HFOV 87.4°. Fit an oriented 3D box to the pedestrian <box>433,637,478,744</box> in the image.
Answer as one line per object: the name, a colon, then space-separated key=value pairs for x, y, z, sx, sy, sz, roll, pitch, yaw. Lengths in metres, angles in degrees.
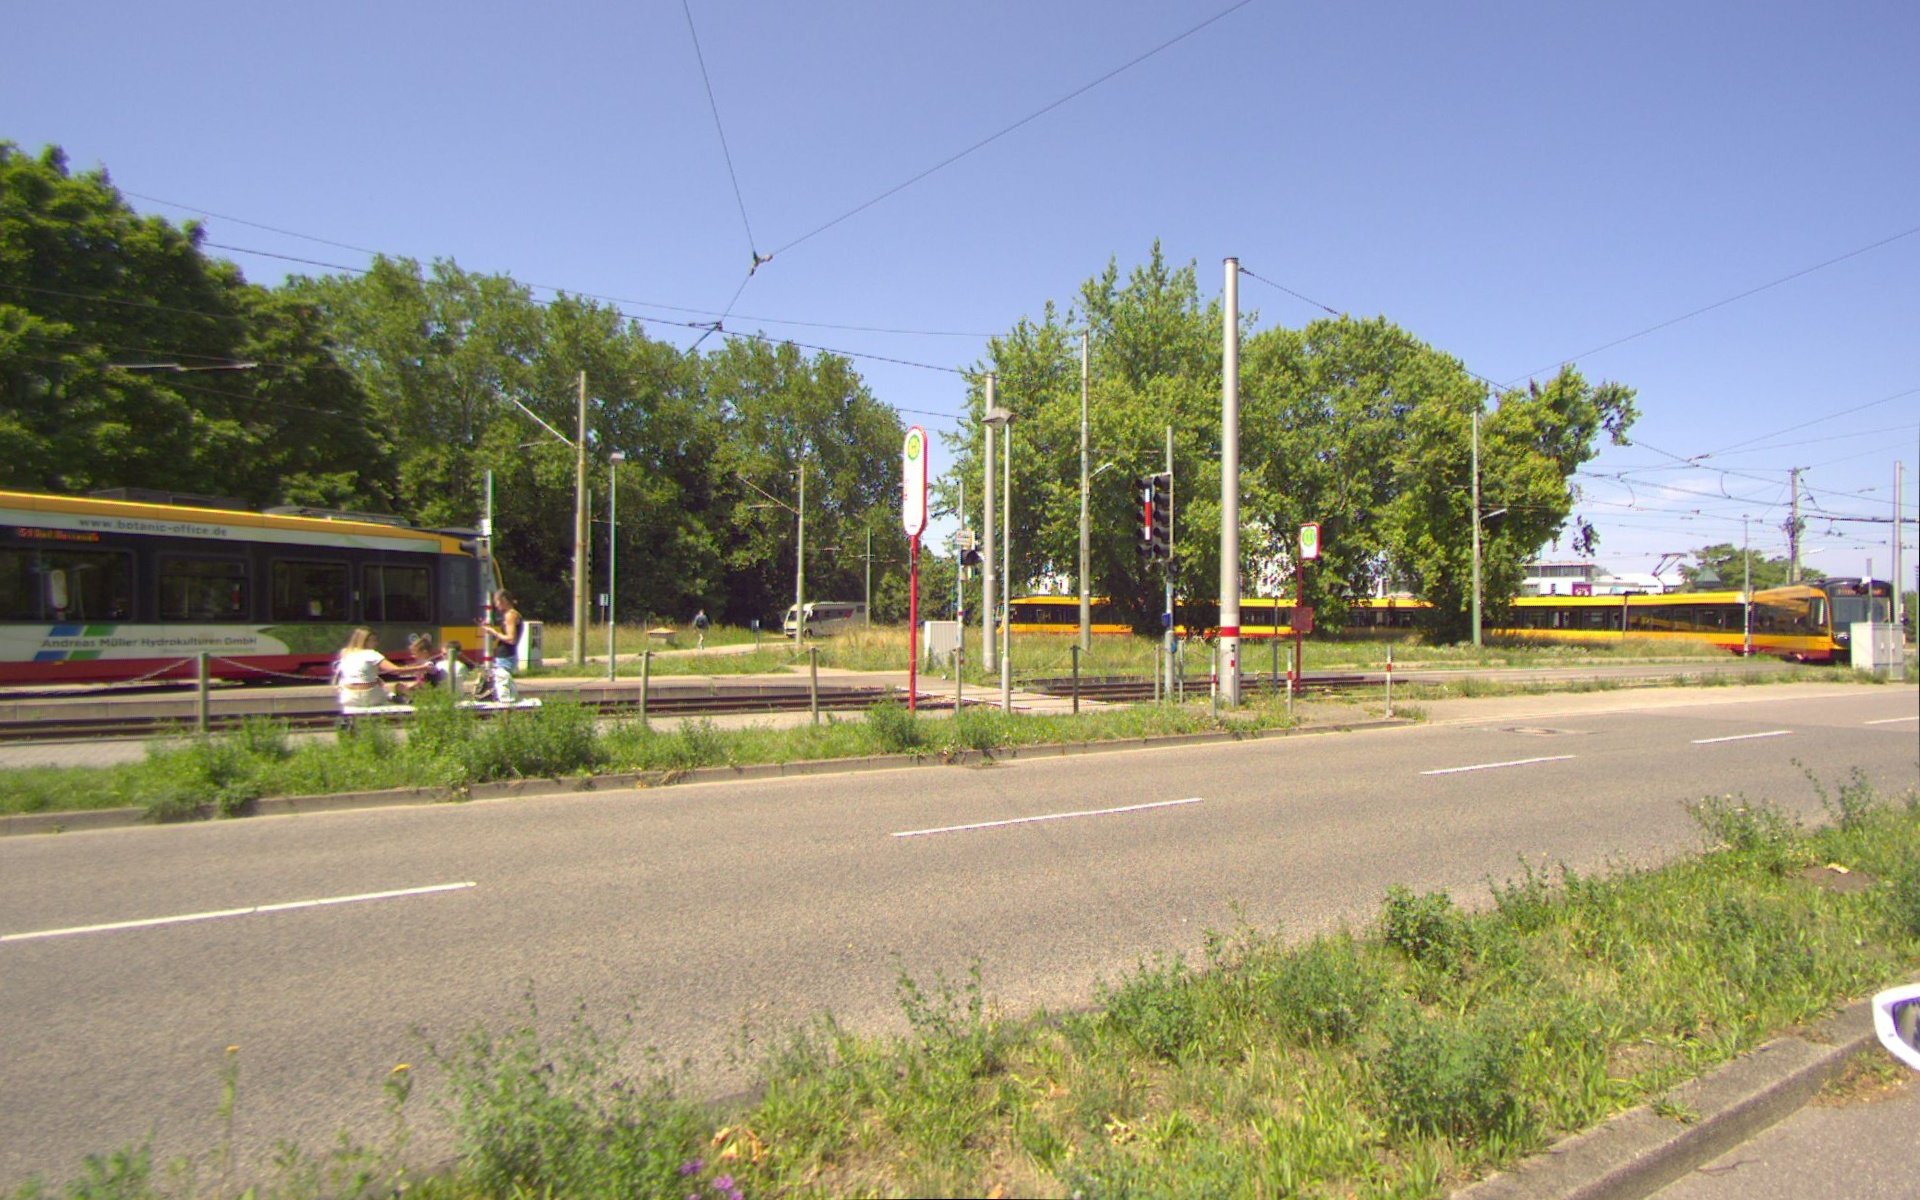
pedestrian: x=-5.236 y=0.924 z=10.416 sx=0.373 sy=1.072 sz=0.380 roll=1 pitch=1 yaw=-32

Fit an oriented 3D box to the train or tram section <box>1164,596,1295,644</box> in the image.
train or tram section: x=21.589 y=1.559 z=81.009 sx=10.016 sy=3.512 sz=3.048 roll=1 pitch=0 yaw=12

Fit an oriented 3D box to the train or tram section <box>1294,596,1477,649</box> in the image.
train or tram section: x=32.179 y=1.607 z=76.381 sx=12.526 sy=3.512 sz=3.039 roll=1 pitch=1 yaw=31

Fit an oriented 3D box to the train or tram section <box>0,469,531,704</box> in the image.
train or tram section: x=-14.628 y=-0.220 z=19.155 sx=3.000 sy=3.673 sz=12.423 roll=1 pitch=0 yaw=31

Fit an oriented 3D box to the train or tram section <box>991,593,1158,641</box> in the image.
train or tram section: x=9.128 y=1.368 z=80.092 sx=13.047 sy=3.512 sz=3.036 roll=1 pitch=0 yaw=-16

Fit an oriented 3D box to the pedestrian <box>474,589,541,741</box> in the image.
pedestrian: x=-4.892 y=0.677 z=10.845 sx=0.576 sy=1.586 sz=0.531 roll=1 pitch=1 yaw=-32

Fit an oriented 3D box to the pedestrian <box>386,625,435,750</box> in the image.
pedestrian: x=-5.577 y=0.869 z=10.187 sx=0.396 sy=1.205 sz=0.491 roll=1 pitch=1 yaw=-32

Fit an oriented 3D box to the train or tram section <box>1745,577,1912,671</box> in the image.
train or tram section: x=37.794 y=0.928 z=44.352 sx=2.992 sy=3.512 sz=13.266 roll=1 pitch=0 yaw=30

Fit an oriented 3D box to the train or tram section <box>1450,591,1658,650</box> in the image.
train or tram section: x=39.106 y=1.224 z=67.072 sx=3.003 sy=3.512 sz=12.679 roll=1 pitch=0 yaw=-23

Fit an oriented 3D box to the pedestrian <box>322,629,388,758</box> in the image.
pedestrian: x=-5.979 y=0.899 z=9.925 sx=0.530 sy=1.205 sz=0.577 roll=1 pitch=1 yaw=-32

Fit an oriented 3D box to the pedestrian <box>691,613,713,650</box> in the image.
pedestrian: x=-11.595 y=1.401 z=45.177 sx=0.677 sy=1.595 sz=0.791 roll=1 pitch=1 yaw=13

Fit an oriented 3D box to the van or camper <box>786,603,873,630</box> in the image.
van or camper: x=-10.092 y=1.266 z=78.283 sx=1.970 sy=2.040 sz=7.321 roll=1 pitch=0 yaw=41

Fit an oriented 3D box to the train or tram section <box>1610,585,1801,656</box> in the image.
train or tram section: x=41.001 y=1.016 z=55.914 sx=2.986 sy=3.512 sz=10.223 roll=1 pitch=0 yaw=0
